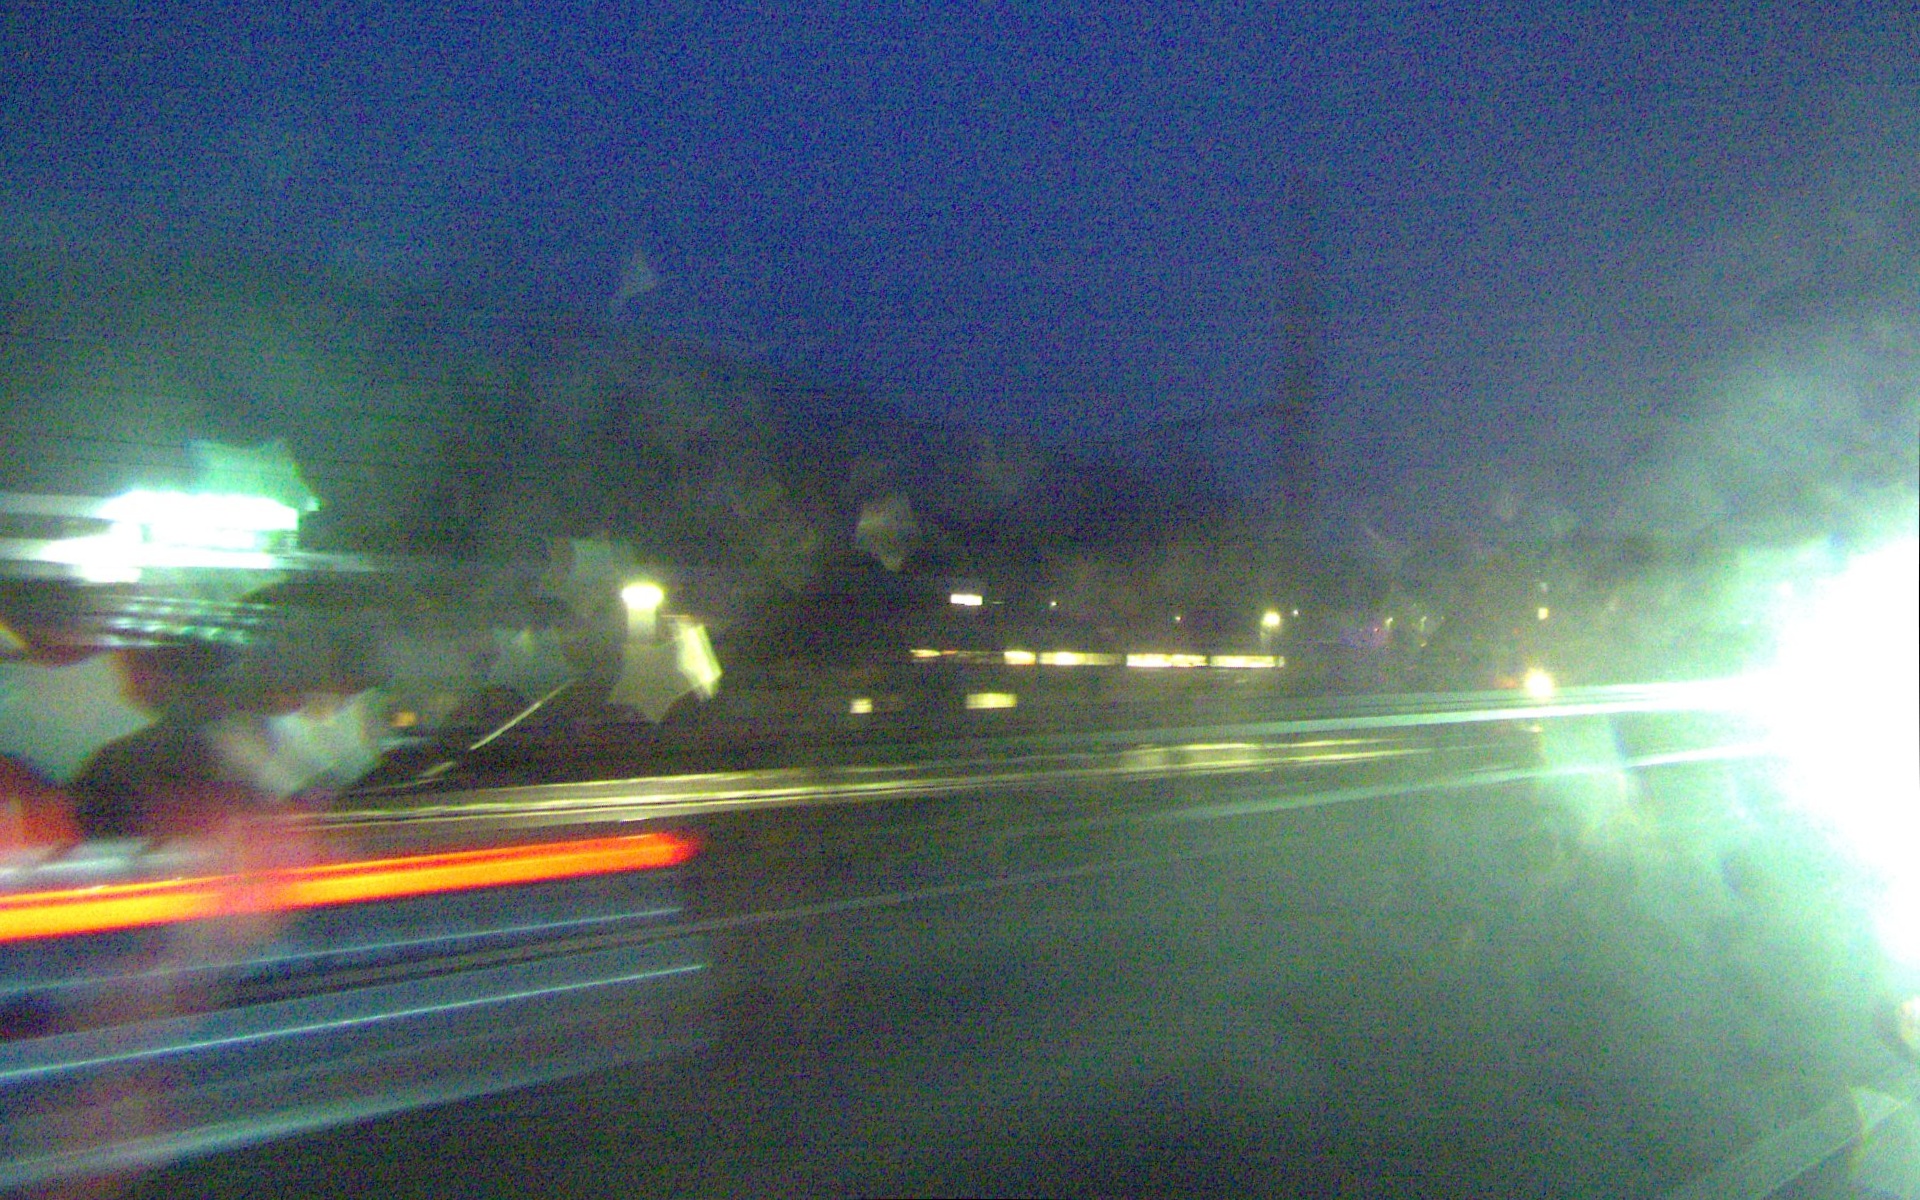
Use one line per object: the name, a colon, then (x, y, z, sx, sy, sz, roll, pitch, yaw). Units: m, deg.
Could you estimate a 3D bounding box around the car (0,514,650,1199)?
car: (-2.556, 0.633, 1.901, 3.518, 1.638, 1.476, 1, 2, -30)
